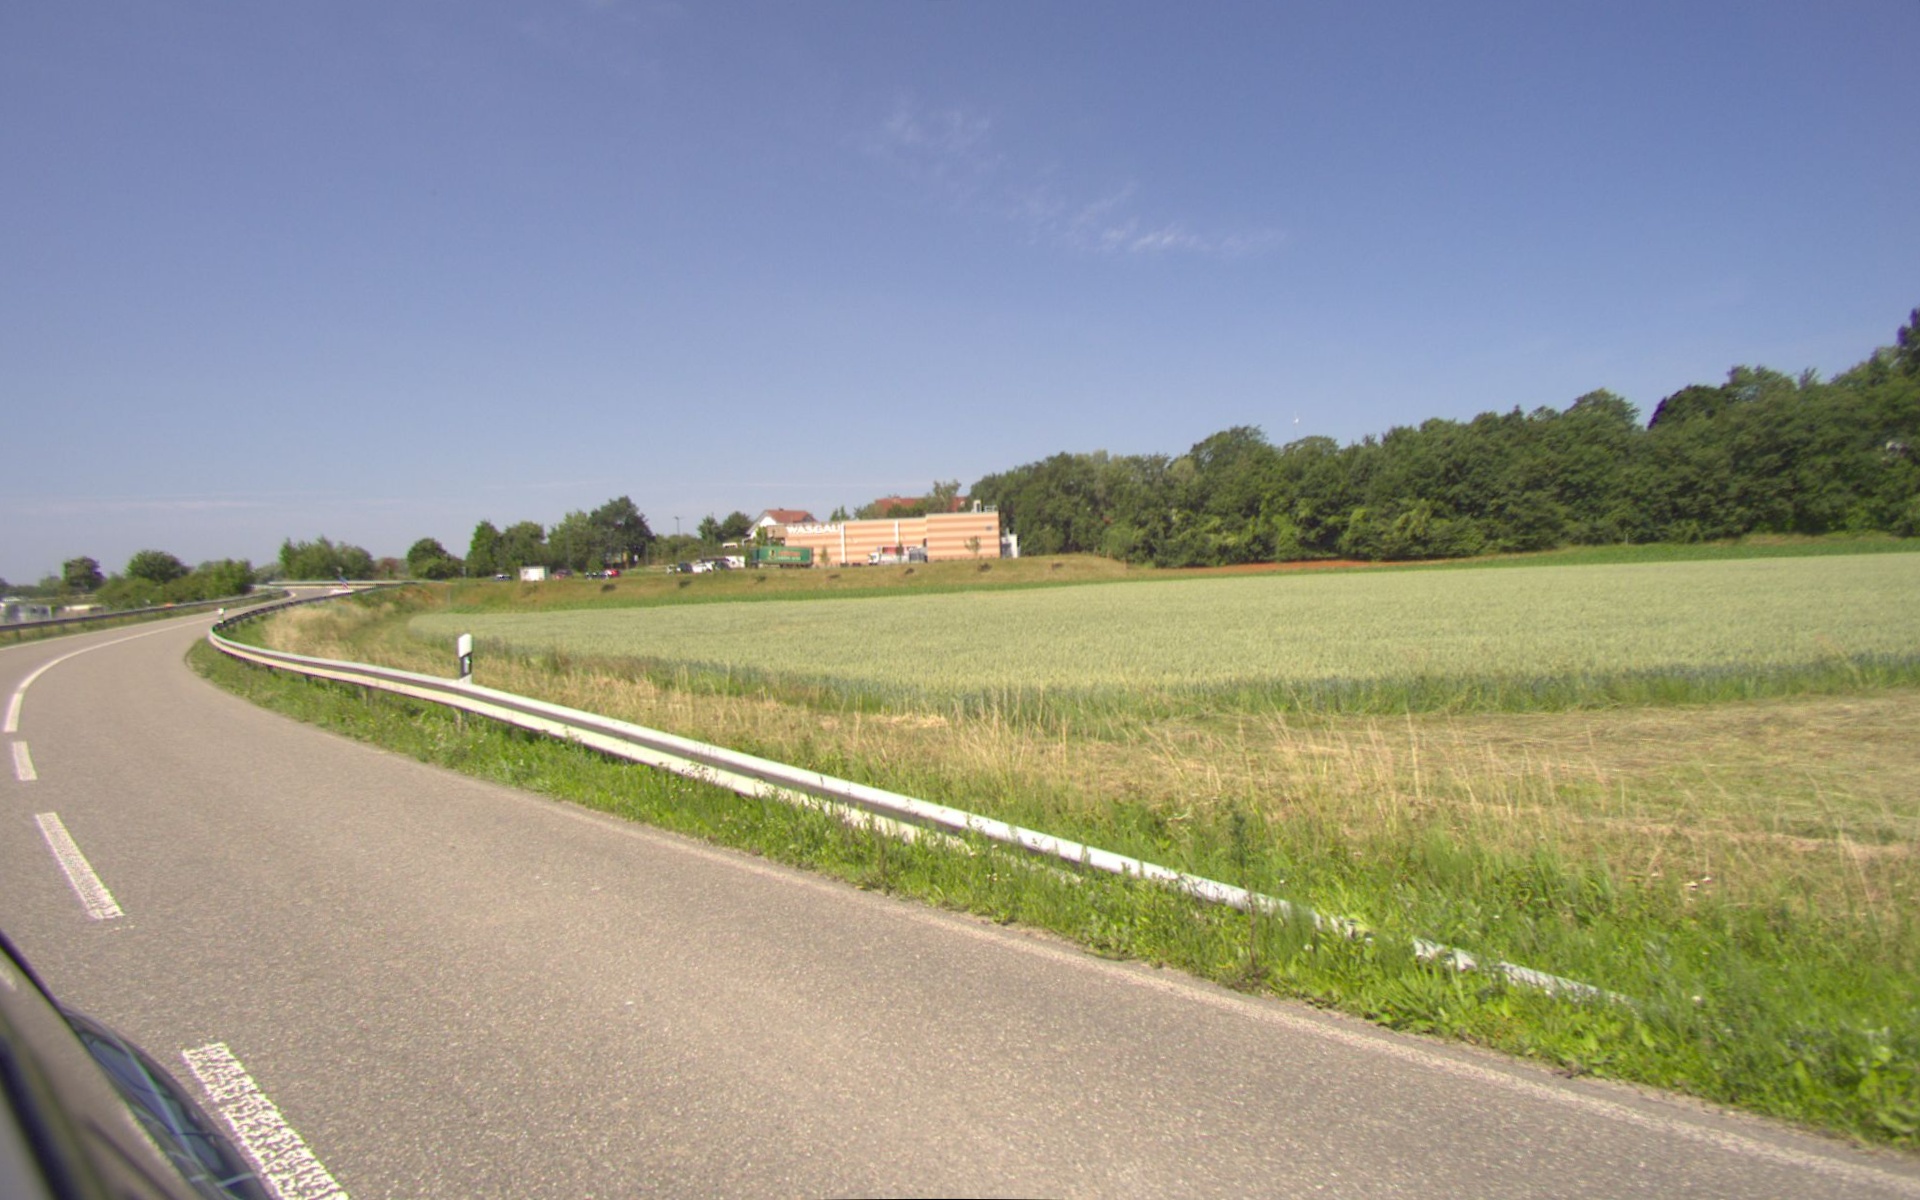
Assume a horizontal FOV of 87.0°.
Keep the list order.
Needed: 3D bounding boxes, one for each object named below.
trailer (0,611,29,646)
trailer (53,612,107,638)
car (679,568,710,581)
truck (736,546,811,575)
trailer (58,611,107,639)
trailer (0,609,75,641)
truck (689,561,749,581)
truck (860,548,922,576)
[{"bbox_3d":[-82.963,2.518,87.081,5.009,2.886,2.219,-2,1,22],"label":"trailer"},{"bbox_3d":[-94.893,2.694,109.151,4.041,2.408,2.005,-5,2,4],"label":"trailer"},{"bbox_3d":[-40.970,-3.952,156.252,4.269,1.716,2.002,-3,4,-3],"label":"car"},{"bbox_3d":[-26.220,-5.533,142.428,9.809,3.502,2.877,-3,4,2],"label":"truck"},{"bbox_3d":[-97.519,2.728,112.484,3.368,2.825,2.168,-3,2,-6],"label":"trailer"},{"bbox_3d":[-90.102,2.424,98.874,5.111,2.708,2.211,-3,1,-3],"label":"trailer"},{"bbox_3d":[-45.413,-5.507,190.754,10.539,3.214,2.455,-4,4,-17],"label":"truck"},{"bbox_3d":[-9.906,-5.527,146.225,8.755,3.589,2.880,-3,4,-1],"label":"truck"}]
